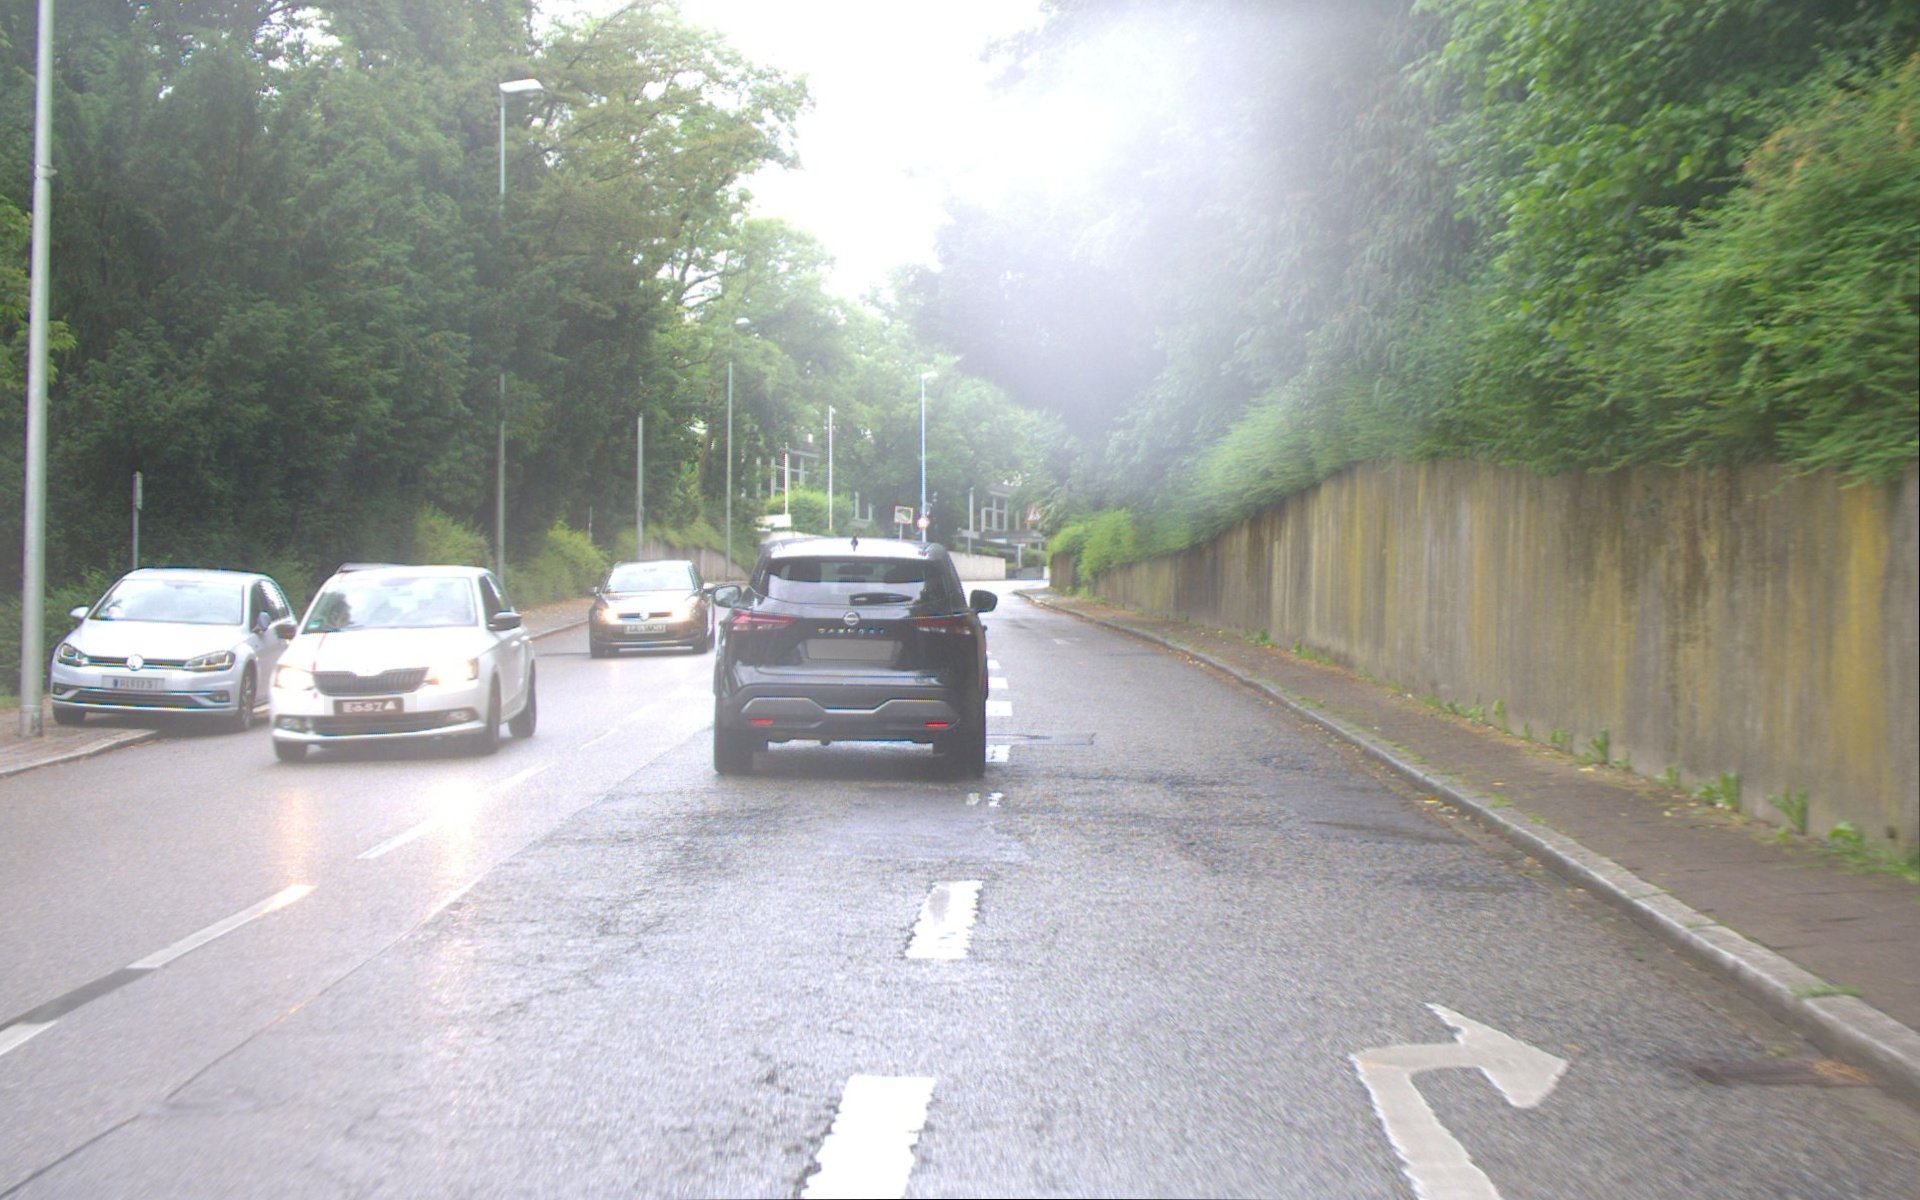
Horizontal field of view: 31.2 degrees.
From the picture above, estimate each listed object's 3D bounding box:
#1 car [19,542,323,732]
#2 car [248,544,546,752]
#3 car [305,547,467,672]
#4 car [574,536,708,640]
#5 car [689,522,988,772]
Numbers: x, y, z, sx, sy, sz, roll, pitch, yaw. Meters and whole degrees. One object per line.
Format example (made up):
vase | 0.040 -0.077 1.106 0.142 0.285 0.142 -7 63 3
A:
car | -7.451 0.297 32.878 1.886 1.606 4.239 -3 1 0
car | -4.351 0.318 27.071 1.724 1.430 3.913 -3 1 -1
car | -7.401 0.088 44.606 1.626 1.494 3.929 2 1 -3
car | -4.874 -0.219 52.956 1.760 1.486 4.000 -2 1 -2
car | -0.824 0.269 24.190 1.928 1.607 4.000 0 1 -1
